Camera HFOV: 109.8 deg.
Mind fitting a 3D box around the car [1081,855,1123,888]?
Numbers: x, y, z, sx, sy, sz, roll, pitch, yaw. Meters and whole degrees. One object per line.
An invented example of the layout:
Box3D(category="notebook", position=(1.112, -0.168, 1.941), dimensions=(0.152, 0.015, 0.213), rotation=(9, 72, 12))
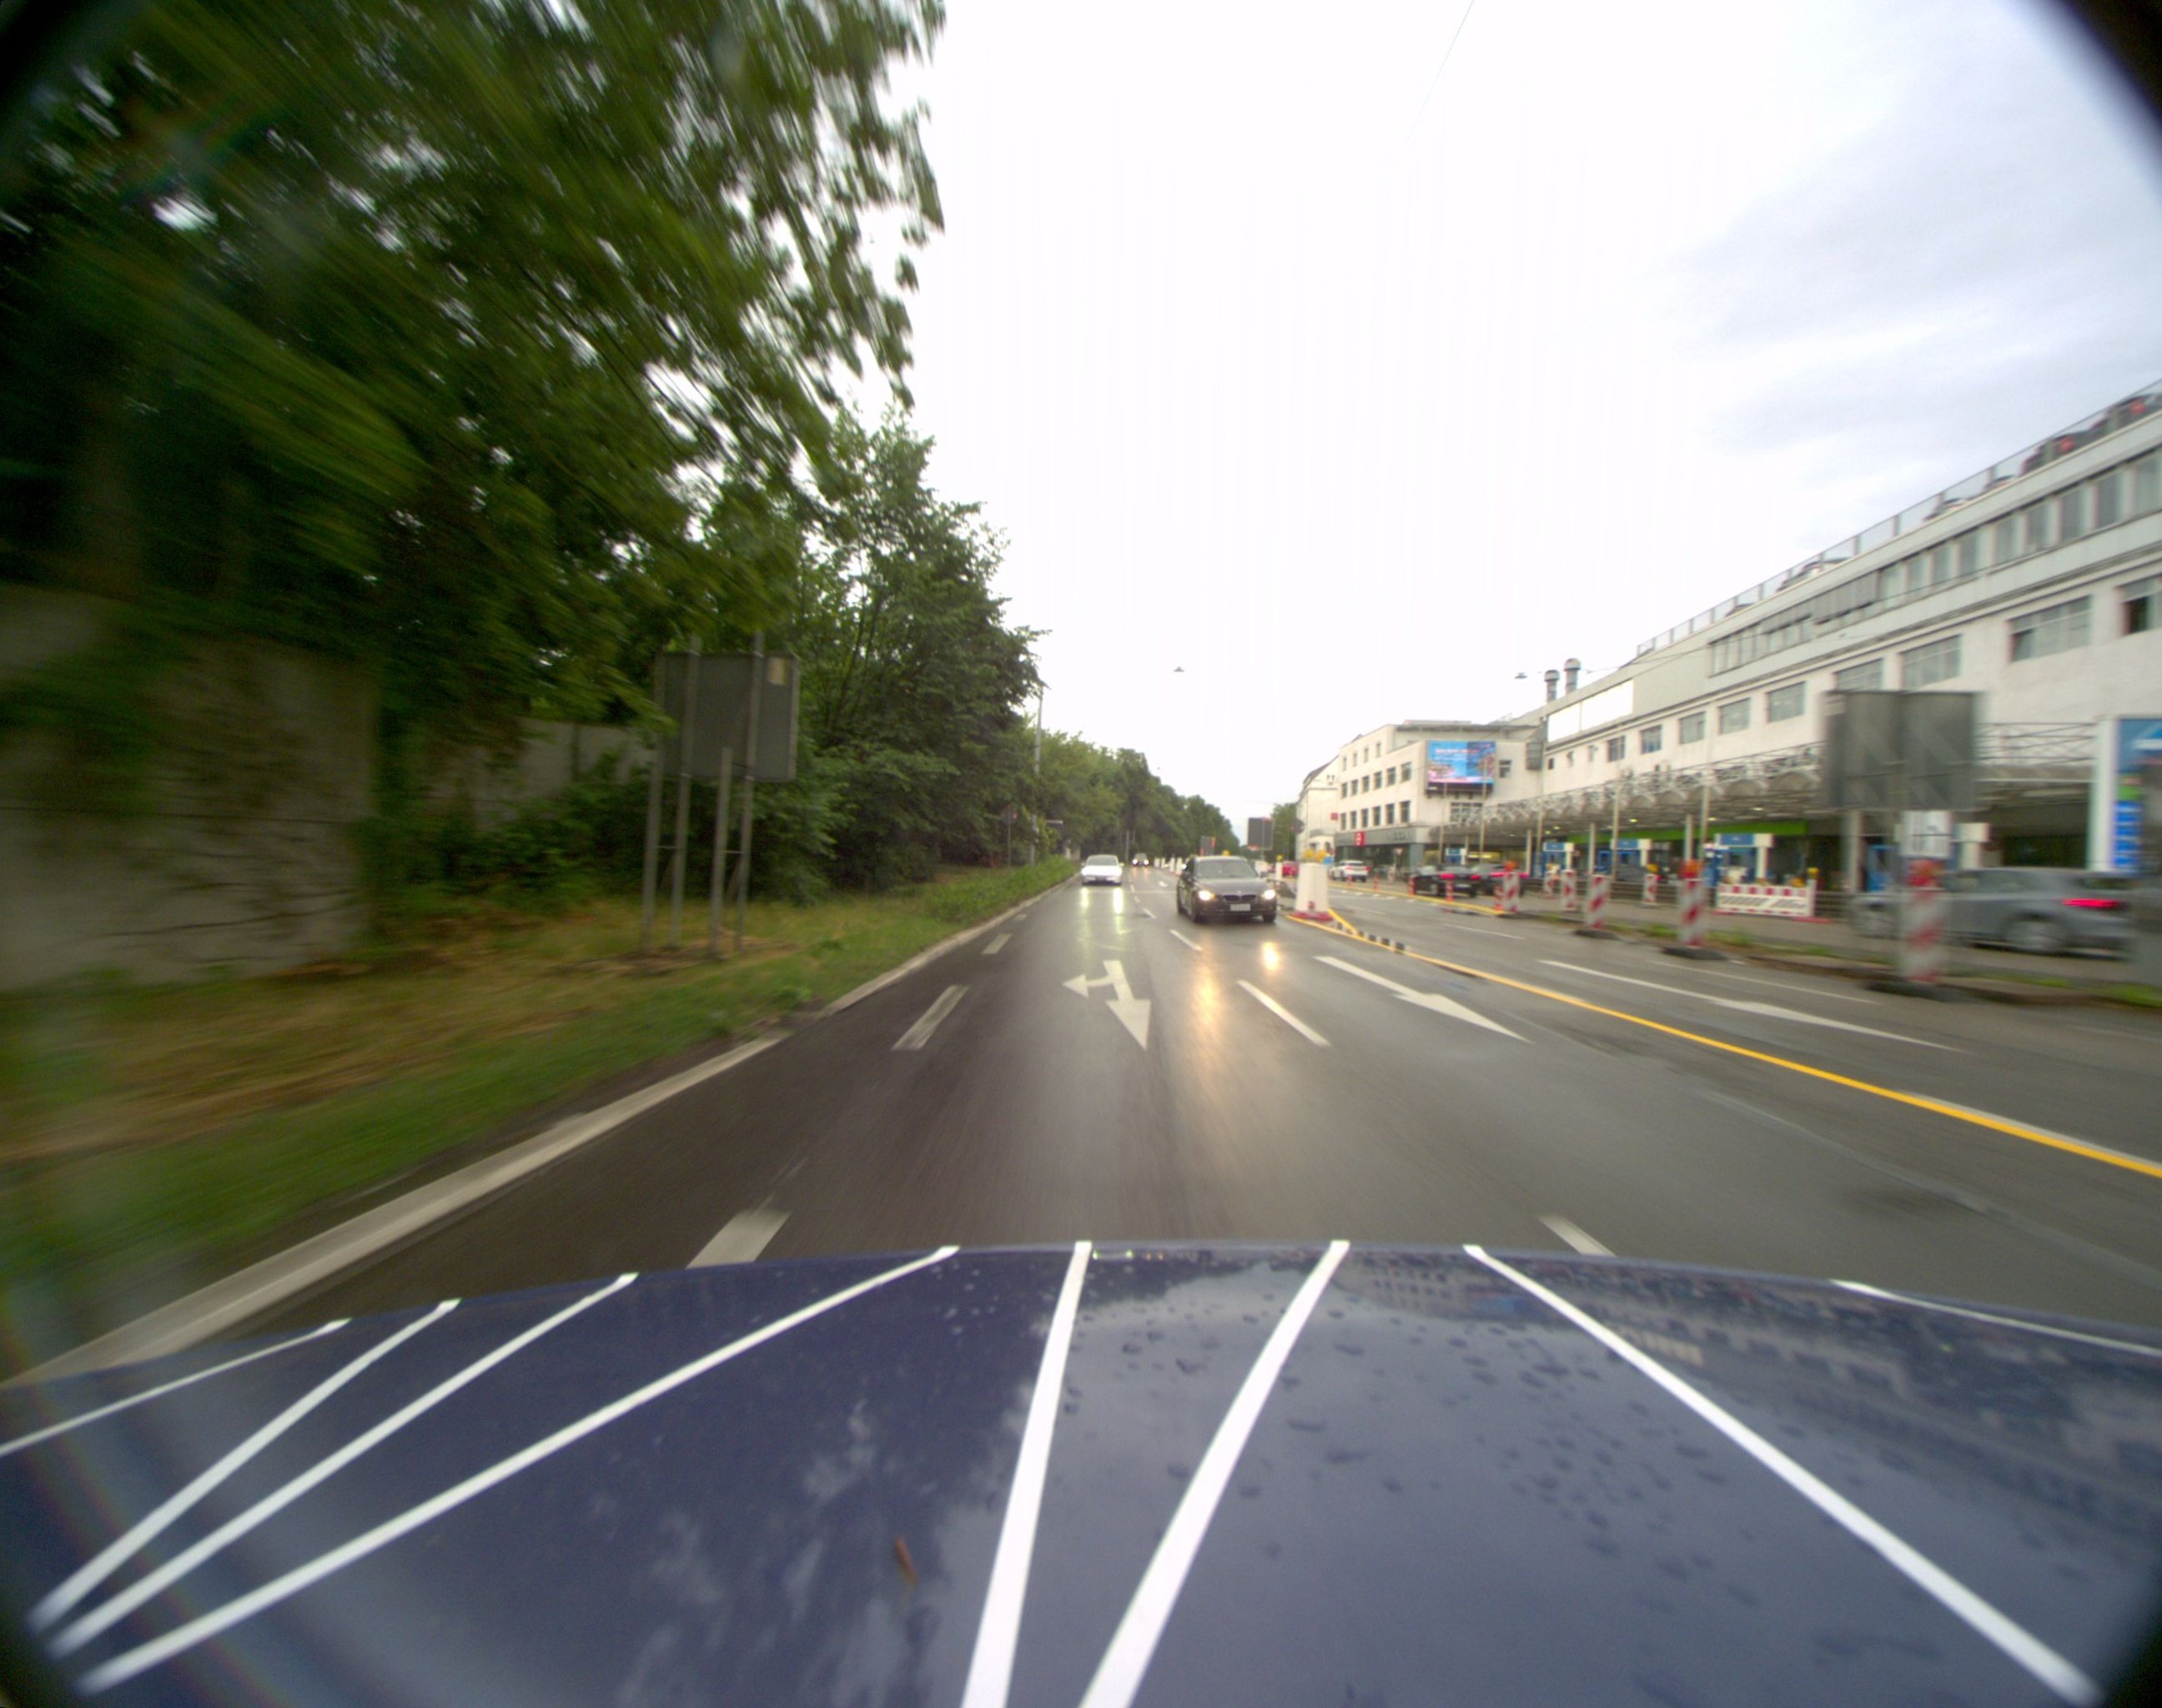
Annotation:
Box3D(category="car", position=(1.035, 0.770, 36.201), dimensions=(1.839, 1.424, 4.273), rotation=(1, 0, 3))

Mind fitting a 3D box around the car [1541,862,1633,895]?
Box3D(category="car", position=(31.878, 1.507, 47.956), dimensions=(4.431, 1.760, 1.972), rotation=(4, 1, 44))

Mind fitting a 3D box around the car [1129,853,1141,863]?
Box3D(category="car", position=(8.509, 0.602, 120.301), dimensions=(1.741, 1.477, 3.919), rotation=(-1, 0, 6))

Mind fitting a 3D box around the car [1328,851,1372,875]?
Box3D(category="car", position=(21.354, 0.686, 60.572), dimensions=(1.984, 1.697, 4.832), rotation=(2, 1, 3))

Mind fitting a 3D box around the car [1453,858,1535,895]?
Box3D(category="car", position=(19.262, 1.006, 35.653), dimensions=(1.756, 1.505, 4.000), rotation=(3, 1, 3))

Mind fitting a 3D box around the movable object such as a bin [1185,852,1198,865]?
Box3D(category="movable object such as a bin", position=(18.993, 0.709, 130.408), dimensions=(1.996, 2.099, 3.854), rotation=(3, 0, 12))

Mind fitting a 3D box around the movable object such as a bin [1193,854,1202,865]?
Box3D(category="movable object such as a bin", position=(21.866, 1.048, 142.295), dimensions=(1.398, 2.032, 4.090), rotation=(3, 0, 12))

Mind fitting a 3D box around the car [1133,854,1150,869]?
Box3D(category="car", position=(7.650, 0.935, 95.992), dimensions=(1.997, 1.740, 4.002), rotation=(3, 1, 6))

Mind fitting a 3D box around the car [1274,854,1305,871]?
Box3D(category="car", position=(18.285, 0.741, 66.851), dimensions=(1.739, 1.396, 4.290), rotation=(1, 0, 3))

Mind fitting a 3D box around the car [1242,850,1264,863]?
Box3D(category="car", position=(21.718, 0.341, 96.111), dimensions=(1.963, 1.512, 4.301), rotation=(2, 0, 4))

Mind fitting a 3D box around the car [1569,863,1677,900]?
Box3D(category="car", position=(29.793, 1.497, 41.844), dimensions=(4.465, 1.669, 2.019), rotation=(4, 1, 44))

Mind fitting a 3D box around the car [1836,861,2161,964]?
Box3D(category="car", position=(17.183, 0.965, 14.262), dimensions=(1.812, 1.549, 4.301), rotation=(2, 1, 2))

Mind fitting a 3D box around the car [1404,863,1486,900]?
Box3D(category="car", position=(15.658, 1.148, 32.942), dimensions=(1.692, 1.346, 4.115), rotation=(3, 1, 3))

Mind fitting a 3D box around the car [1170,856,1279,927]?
Box3D(category="car", position=(3.229, 0.777, 17.870), dimensions=(1.764, 1.441, 4.177), rotation=(1, 0, 0))

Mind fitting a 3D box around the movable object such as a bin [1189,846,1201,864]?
Box3D(category="movable object such as a bin", position=(20.423, 0.195, 135.886), dimensions=(1.825, 2.895, 3.611), rotation=(3, 0, 12))
